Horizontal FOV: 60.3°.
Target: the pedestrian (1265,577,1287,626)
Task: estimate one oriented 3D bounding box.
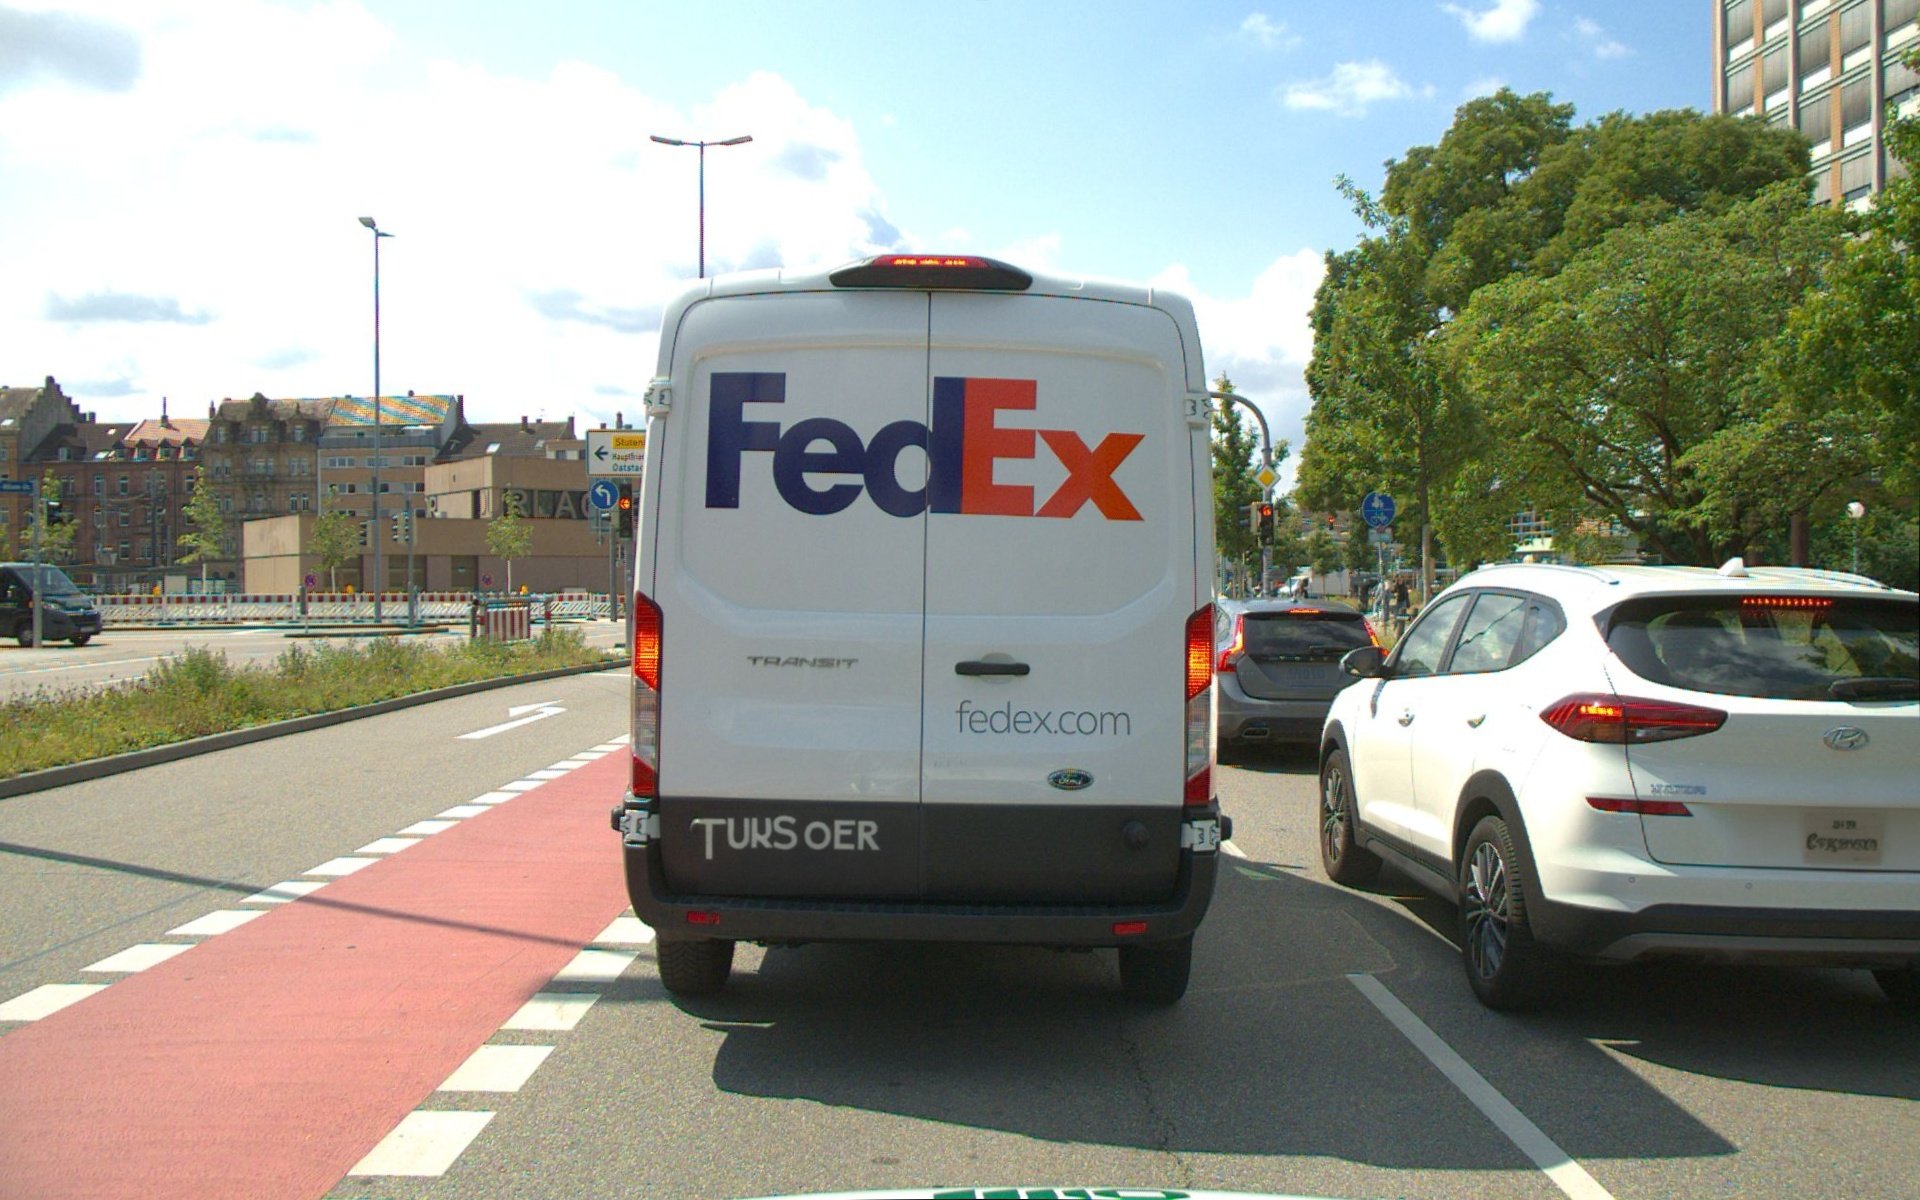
[{"bbox_3d":[12.374,0.046,64.749,0.743,1.882,0.816,0,0,3],"label":"pedestrian"}]

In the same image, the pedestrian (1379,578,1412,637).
[{"bbox_3d":[12.611,0.199,47.914,0.743,1.684,0.816,0,0,3],"label":"pedestrian"}]

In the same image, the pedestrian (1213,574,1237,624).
[{"bbox_3d":[10.049,-0.049,62.780,0.744,1.882,0.816,0,0,-3],"label":"pedestrian"}]

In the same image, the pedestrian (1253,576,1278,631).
[{"bbox_3d":[10.497,0.126,56.852,0.743,1.882,0.816,0,0,18],"label":"pedestrian"}]

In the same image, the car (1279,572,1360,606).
[{"bbox_3d":[30.392,-0.904,139.728,6.994,2.765,2.468,1,0,-33],"label":"car"}]

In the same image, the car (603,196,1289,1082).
[{"bbox_3d":[-0.012,0.094,7.140,2.030,2.626,4.428,0,1,1],"label":"car"}]

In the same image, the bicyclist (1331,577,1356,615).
[{"bbox_3d":[22.355,-0.252,96.445,1.402,2.209,1.340,0,0,14],"label":"bicyclist"}]

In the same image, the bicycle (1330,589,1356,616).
[{"bbox_3d":[22.290,0.130,96.200,1.395,1.489,4.314,0,1,14],"label":"bicycle"}]

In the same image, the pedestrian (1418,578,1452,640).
[{"bbox_3d":[14.500,0.263,50.528,0.744,1.882,0.815,-1,0,-5],"label":"pedestrian"}]

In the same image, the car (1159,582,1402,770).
[{"bbox_3d":[2.935,0.621,15.854,1.656,1.576,3.721,0,1,1],"label":"car"}]

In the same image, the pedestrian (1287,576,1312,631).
[{"bbox_3d":[11.652,0.119,56.799,0.743,1.882,0.816,0,0,18],"label":"pedestrian"}]

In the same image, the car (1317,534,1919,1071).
[{"bbox_3d":[2.863,0.621,7.255,1.777,1.708,3.974,0,1,1],"label":"car"}]

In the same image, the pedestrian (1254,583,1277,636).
[{"bbox_3d":[10.936,0.344,59.215,0.742,1.882,0.817,0,0,14],"label":"pedestrian"}]

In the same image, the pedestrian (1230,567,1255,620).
[{"bbox_3d":[10.262,-0.234,60.058,0.796,1.882,0.761,0,0,2],"label":"pedestrian"}]

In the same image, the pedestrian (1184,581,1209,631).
[{"bbox_3d":[9.090,0.230,63.585,0.744,1.882,0.815,0,0,-5],"label":"pedestrian"}]

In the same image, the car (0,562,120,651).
[{"bbox_3d":[-25.126,0.212,43.582,4.895,2.213,2.157,-2,1,8],"label":"car"}]

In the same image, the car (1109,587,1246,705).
[{"bbox_3d":[2.925,0.571,22.805,1.468,1.489,3.474,0,1,1],"label":"car"}]

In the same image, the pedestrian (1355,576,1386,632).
[{"bbox_3d":[13.869,0.122,55.928,0.745,1.882,0.814,-1,0,-11],"label":"pedestrian"}]
